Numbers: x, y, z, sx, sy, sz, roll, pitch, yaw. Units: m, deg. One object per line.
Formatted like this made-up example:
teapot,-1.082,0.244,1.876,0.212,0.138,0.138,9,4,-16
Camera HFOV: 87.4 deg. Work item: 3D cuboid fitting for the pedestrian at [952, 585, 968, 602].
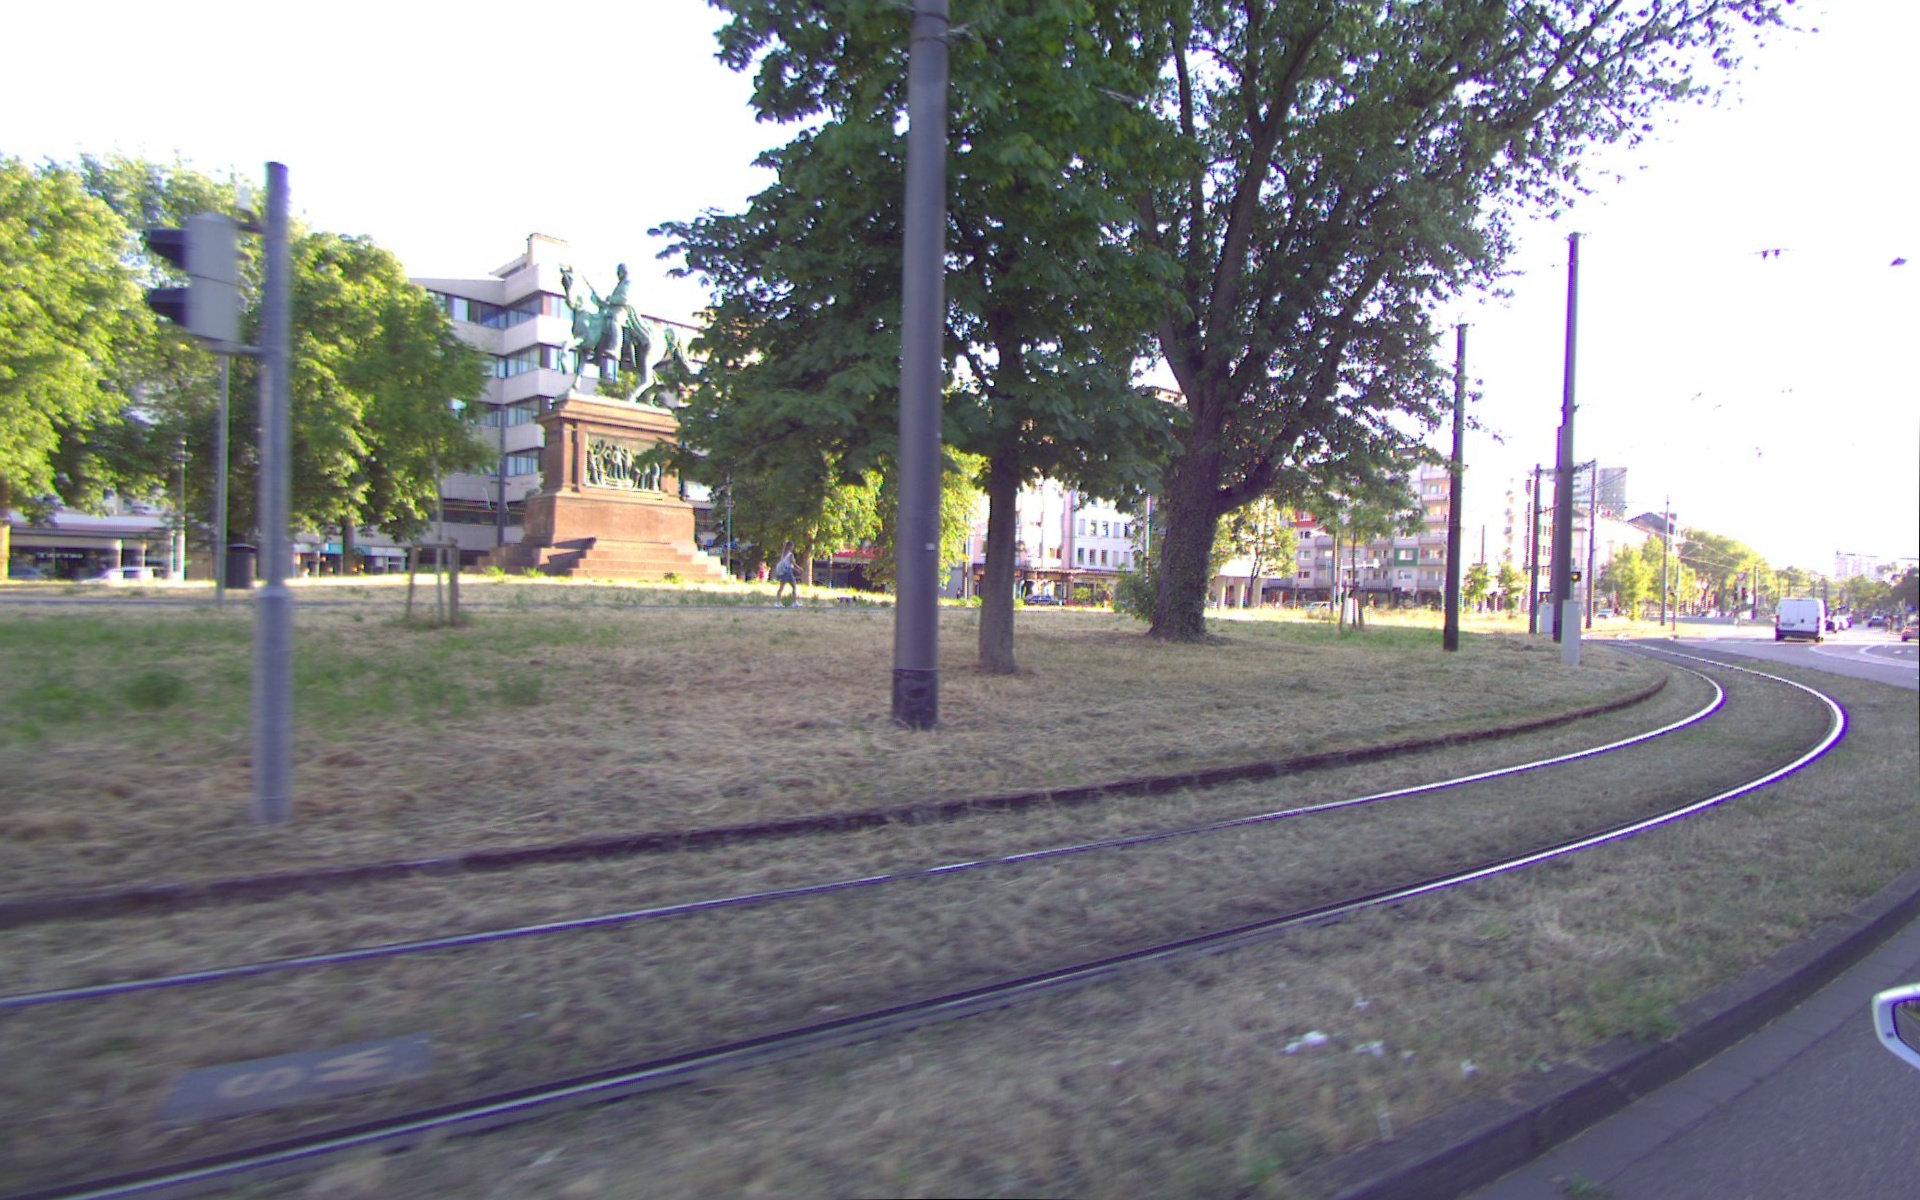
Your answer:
pedestrian,-0.027,-0.587,88.783,1.106,1.548,0.848,2,2,43

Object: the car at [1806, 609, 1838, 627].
car,74.048,1.522,86.237,3.973,1.404,1.720,-1,2,-44

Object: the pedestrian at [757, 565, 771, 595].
pedestrian,-10.104,-1.043,51.709,0.549,1.532,0.448,-1,2,-43

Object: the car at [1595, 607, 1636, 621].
car,83.971,1.778,128.732,3.920,1.453,1.718,2,3,17

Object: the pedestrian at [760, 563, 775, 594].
pedestrian,-10.085,-1.110,52.674,0.549,1.602,0.612,-1,2,-43

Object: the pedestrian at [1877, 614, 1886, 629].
pedestrian,97.487,2.272,106.295,0.794,1.495,0.611,-1,2,-40

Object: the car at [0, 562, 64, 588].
car,-59.554,-1.564,63.451,3.937,1.601,1.790,0,1,-19

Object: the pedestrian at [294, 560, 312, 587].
pedestrian,-41.913,-1.706,64.108,0.787,1.724,0.797,0,2,-17

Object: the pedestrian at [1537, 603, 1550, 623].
pedestrian,50.704,1.127,87.280,0.641,1.786,0.717,0,2,-23

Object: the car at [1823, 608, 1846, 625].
car,91.826,1.736,105.457,1.774,1.587,3.979,2,2,41

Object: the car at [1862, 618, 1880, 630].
car,128.346,3.353,141.502,1.774,1.587,3.979,2,2,41

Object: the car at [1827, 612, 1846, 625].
car,114.587,2.410,131.293,1.774,1.587,3.979,2,2,41

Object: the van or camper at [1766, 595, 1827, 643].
van or camper,49.232,1.078,59.098,4.472,2.660,2.240,-1,2,-44

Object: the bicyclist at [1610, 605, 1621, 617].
bicyclist,82.959,1.410,127.119,0.839,1.462,0.663,3,3,15

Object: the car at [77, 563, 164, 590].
car,-54.630,-1.528,65.459,3.942,1.686,1.750,0,1,-22

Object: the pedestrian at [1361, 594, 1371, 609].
pedestrian,46.258,0.178,114.447,0.777,1.692,0.732,-1,2,-43

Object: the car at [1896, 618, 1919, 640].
car,66.317,2.025,69.758,1.765,1.372,4.240,4,2,44

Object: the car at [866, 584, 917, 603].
car,-5.686,-0.548,83.716,3.938,1.573,1.752,0,1,-19

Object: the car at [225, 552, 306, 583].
car,-46.938,-2.178,67.987,4.148,1.970,1.750,0,1,-22

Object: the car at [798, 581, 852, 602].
car,-10.584,-0.669,78.895,3.937,1.601,1.790,0,1,-19

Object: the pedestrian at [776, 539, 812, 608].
pedestrian,-4.225,-0.668,25.601,0.468,1.712,0.834,1,1,31
